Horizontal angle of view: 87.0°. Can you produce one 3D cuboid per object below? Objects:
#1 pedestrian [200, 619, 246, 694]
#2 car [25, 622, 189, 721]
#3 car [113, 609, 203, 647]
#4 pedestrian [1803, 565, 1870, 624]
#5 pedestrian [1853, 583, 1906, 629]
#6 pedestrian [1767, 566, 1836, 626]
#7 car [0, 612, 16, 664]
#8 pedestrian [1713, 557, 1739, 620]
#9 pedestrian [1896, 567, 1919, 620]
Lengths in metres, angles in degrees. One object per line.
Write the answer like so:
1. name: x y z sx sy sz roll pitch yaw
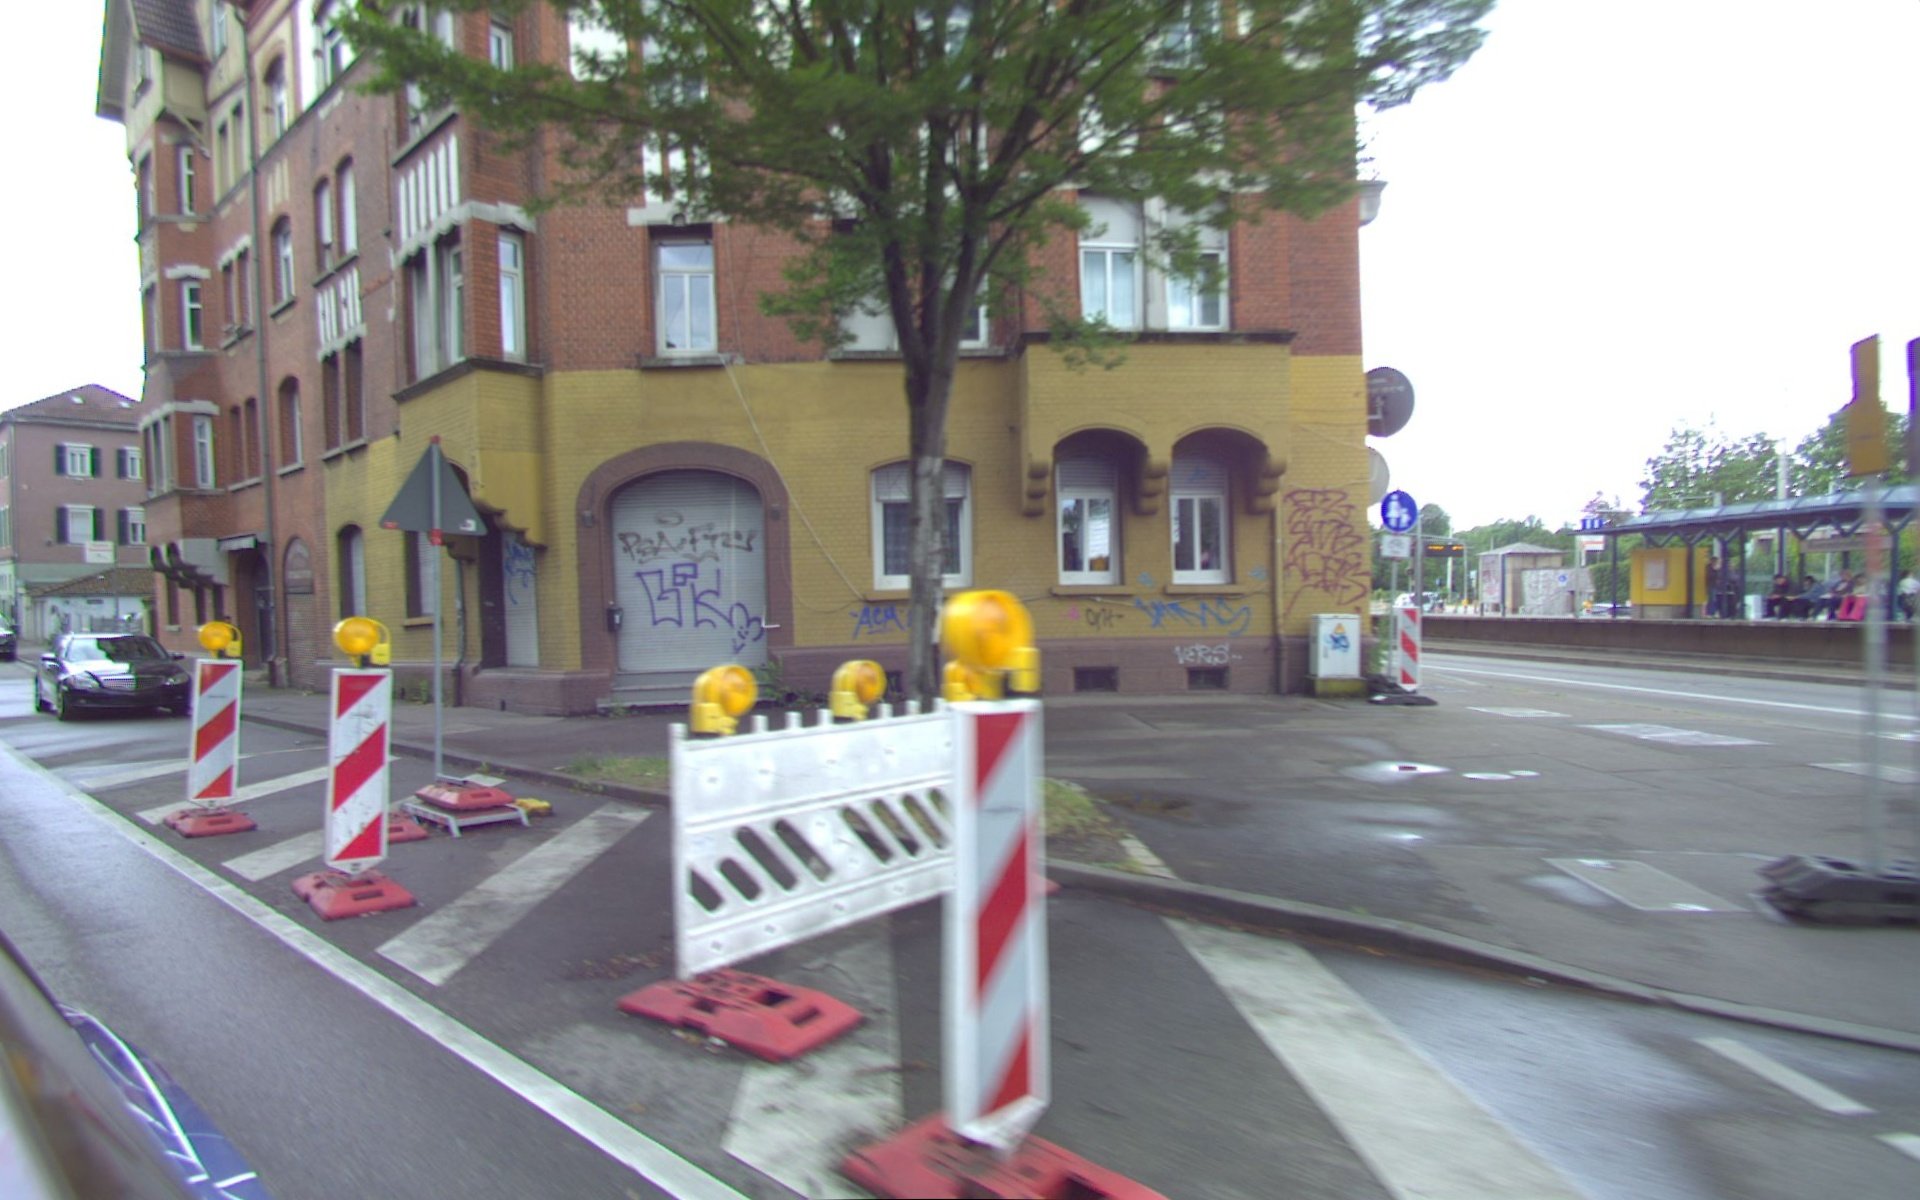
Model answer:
1. pedestrian: -16.424 1.245 22.563 0.632 1.621 0.653 -2 1 42
2. car: -15.339 1.235 18.114 4.390 1.497 1.706 -3 -1 43
3. car: -35.317 1.222 44.598 1.853 1.577 2.817 -1 -1 42
4. pedestrian: 19.716 -0.125 22.776 0.798 1.279 0.774 1 0 -2
5. pedestrian: 19.739 0.133 21.727 0.653 0.986 0.514 1 -1 -3
6. pedestrian: 19.669 -0.098 23.676 0.810 1.383 0.936 1 0 -2
7. car: -34.763 1.347 35.542 4.772 1.747 1.933 -1 0 42
8. pedestrian: 20.558 -0.302 27.157 0.481 1.653 0.588 1 1 43
9. pedestrian: 21.082 -0.143 22.018 0.810 1.131 0.652 1 0 -2
